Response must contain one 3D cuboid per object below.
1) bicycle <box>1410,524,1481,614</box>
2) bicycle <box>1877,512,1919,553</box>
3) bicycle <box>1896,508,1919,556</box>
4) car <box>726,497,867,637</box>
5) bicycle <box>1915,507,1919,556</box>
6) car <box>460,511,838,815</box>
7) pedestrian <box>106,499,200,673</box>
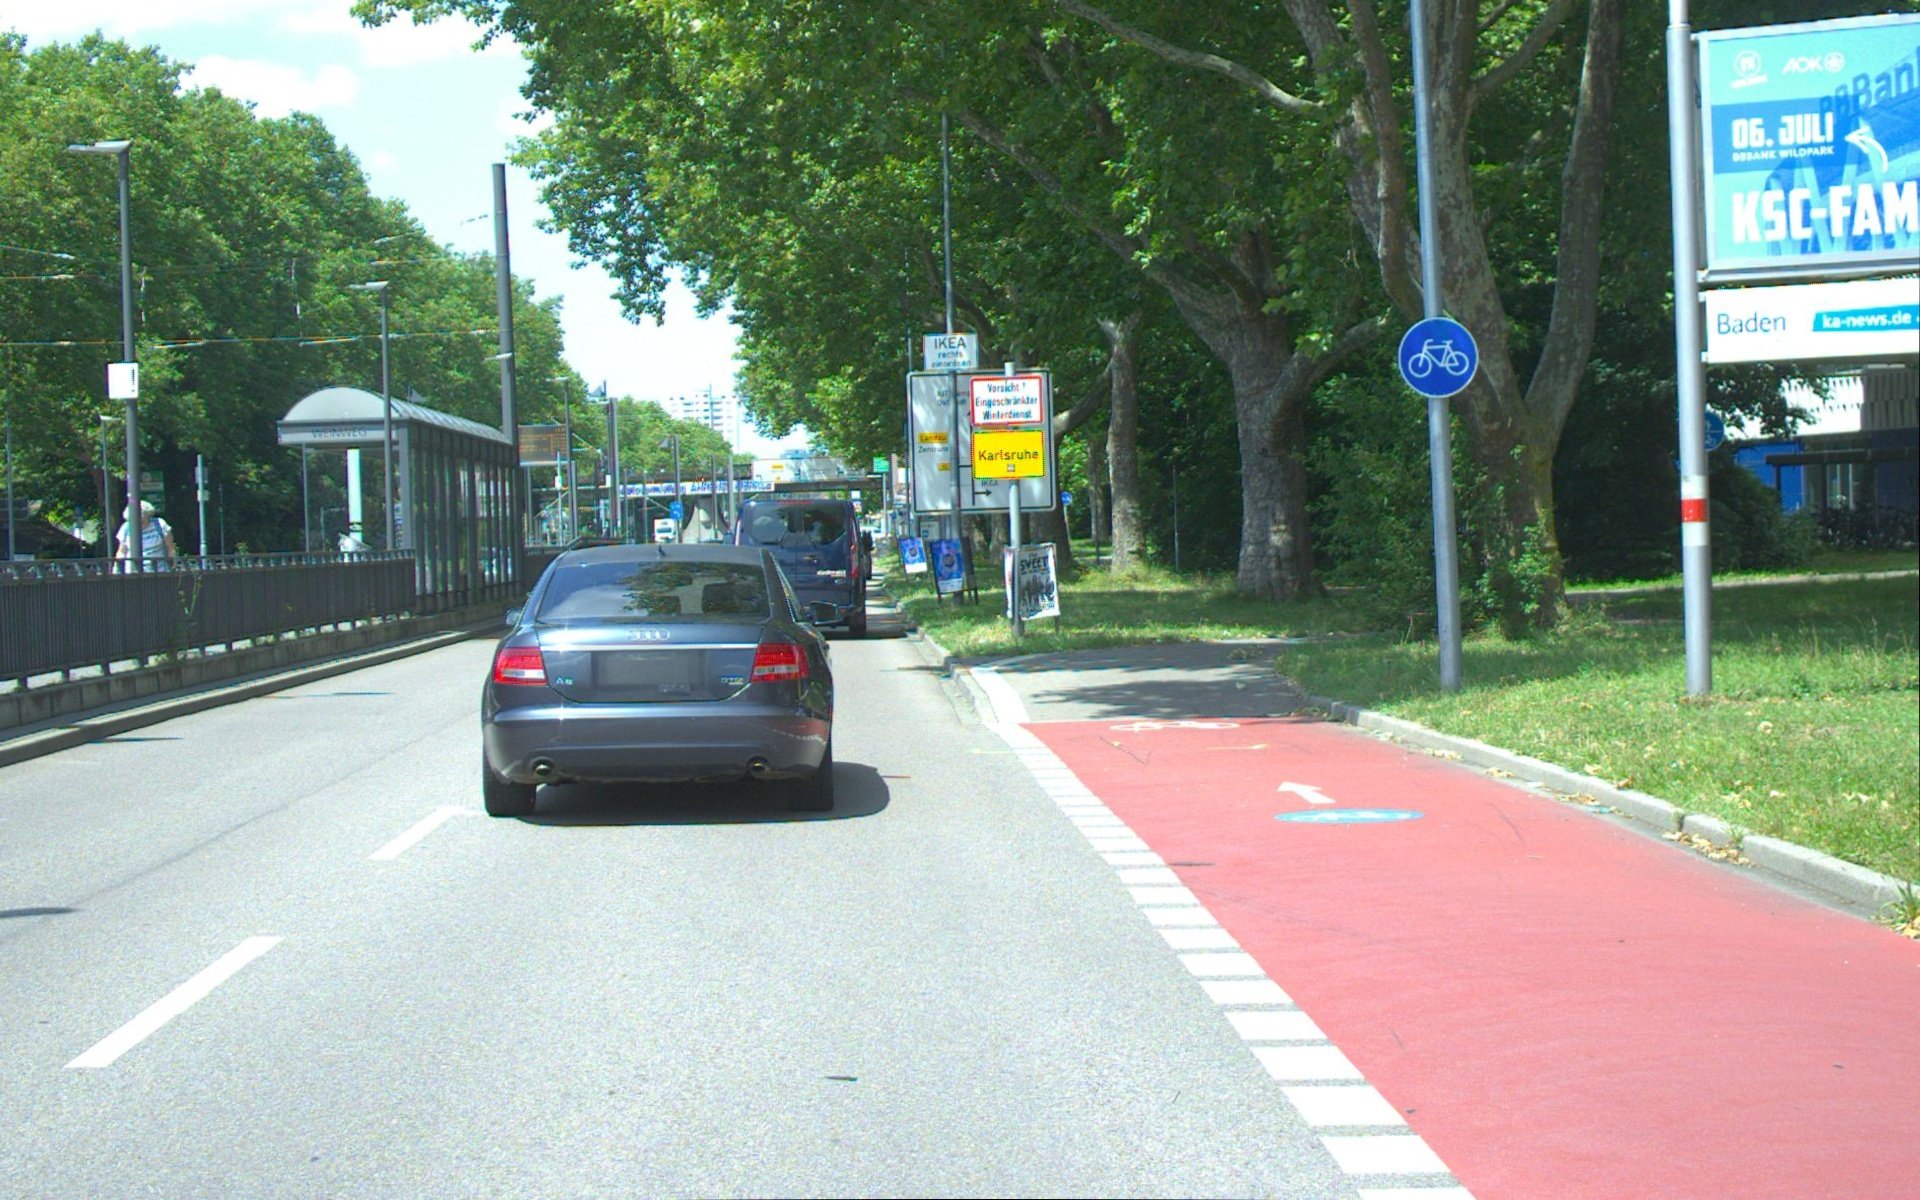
[{"bbox_3d":[8.010,-0.520,56.803,0.610,1.415,2.662,-3,1,-2],"label":"bicycle"},{"bbox_3d":[22.966,-1.602,80.908,2.545,0.967,0.759,-1,1,-6],"label":"bicycle"},{"bbox_3d":[23.066,-1.588,79.640,2.545,1.107,0.759,-1,1,-6],"label":"bicycle"},{"bbox_3d":[-2.335,-0.496,49.993,1.848,1.953,4.145,0,1,0],"label":"car"},{"bbox_3d":[23.145,-1.574,78.381,2.545,1.107,0.759,-1,1,-6],"label":"bicycle"},{"bbox_3d":[-1.614,0.265,19.015,1.842,1.479,4.001,-1,1,-2],"label":"car"},{"bbox_3d":[-7.829,-0.140,33.382,0.732,1.660,0.742,-1,1,-2],"label":"pedestrian"}]
